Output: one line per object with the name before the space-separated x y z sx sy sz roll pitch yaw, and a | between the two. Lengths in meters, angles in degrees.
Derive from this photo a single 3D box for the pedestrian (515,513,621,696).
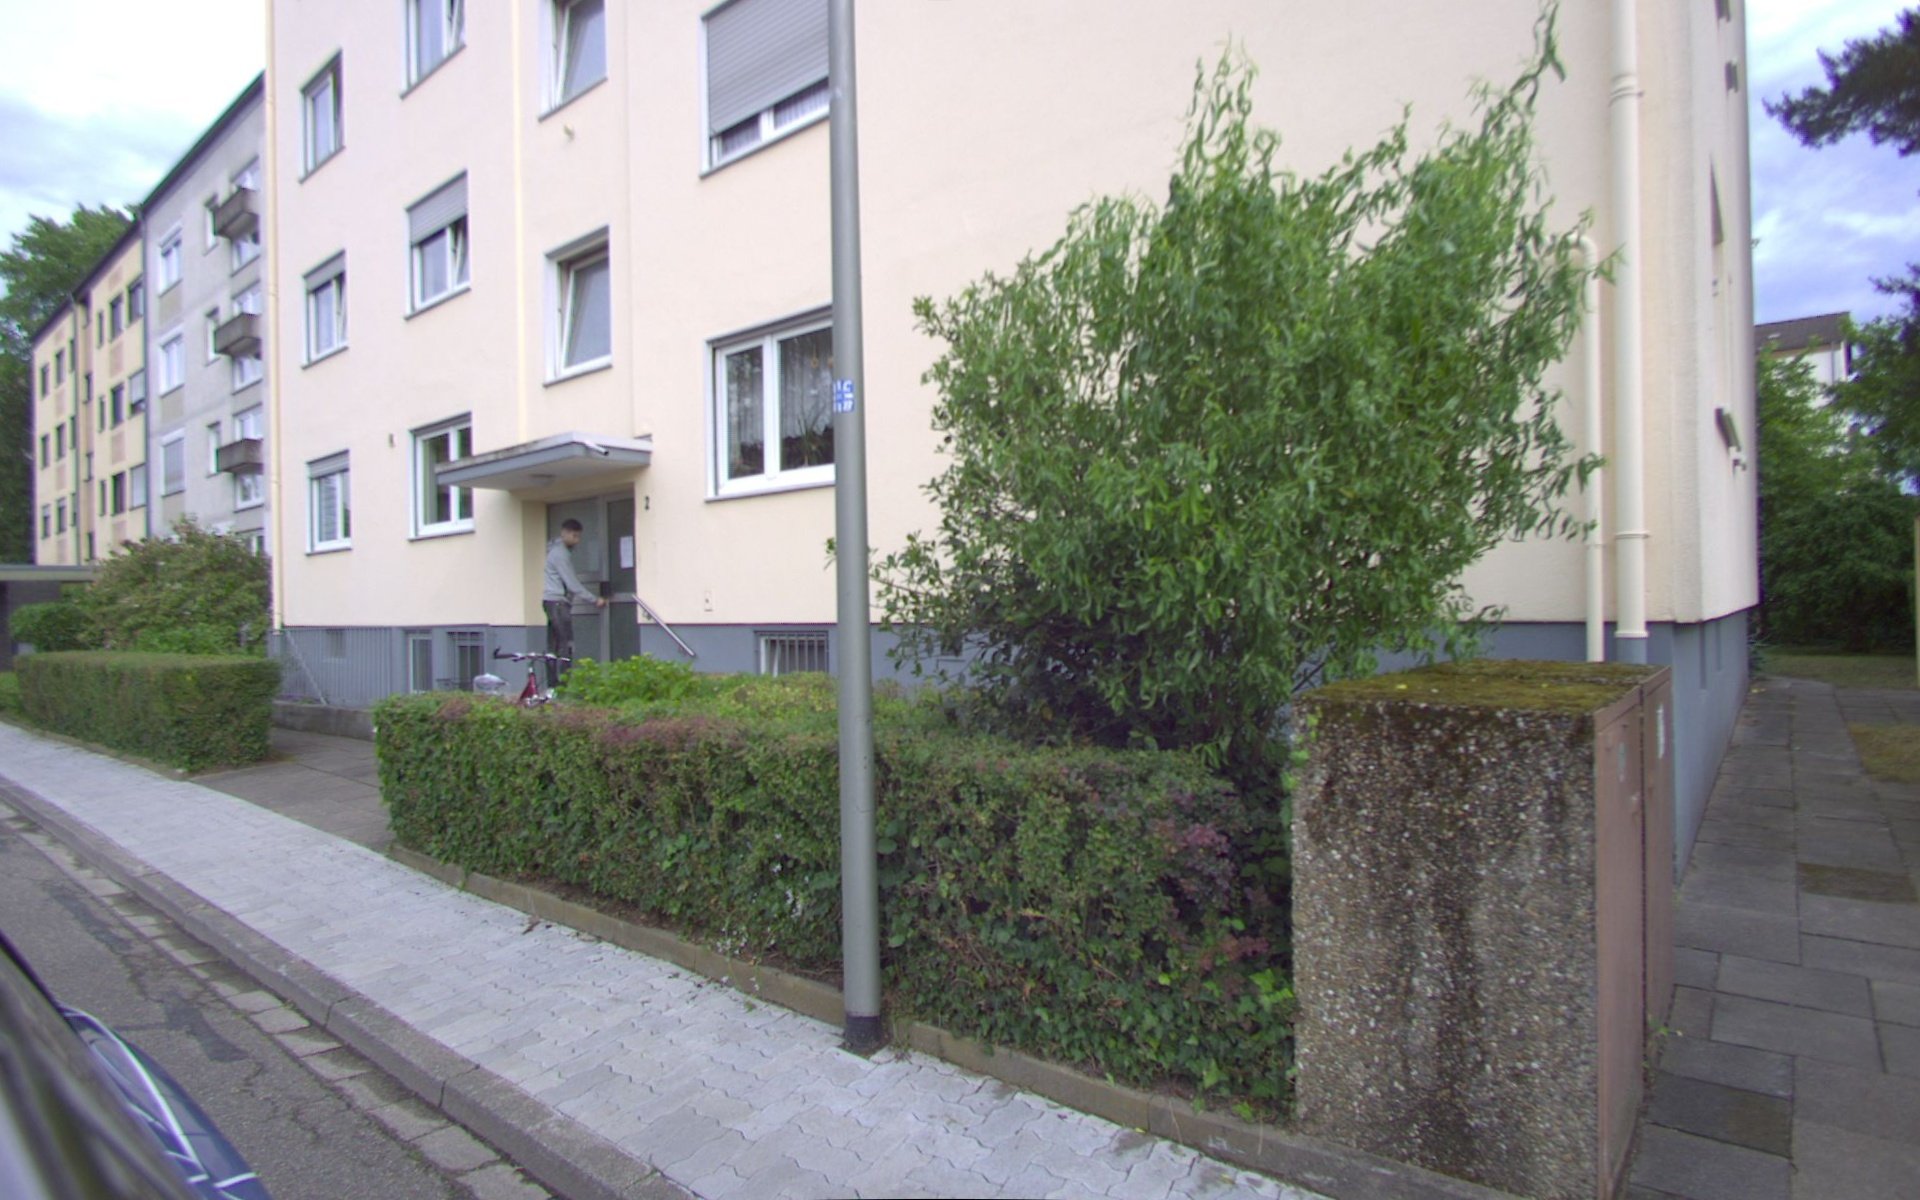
pedestrian | -3.949 0.044 10.196 0.755 1.762 0.672 -2 0 39

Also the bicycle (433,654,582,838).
bicycle | -3.062 0.927 6.797 1.417 1.084 0.315 -1 0 40
